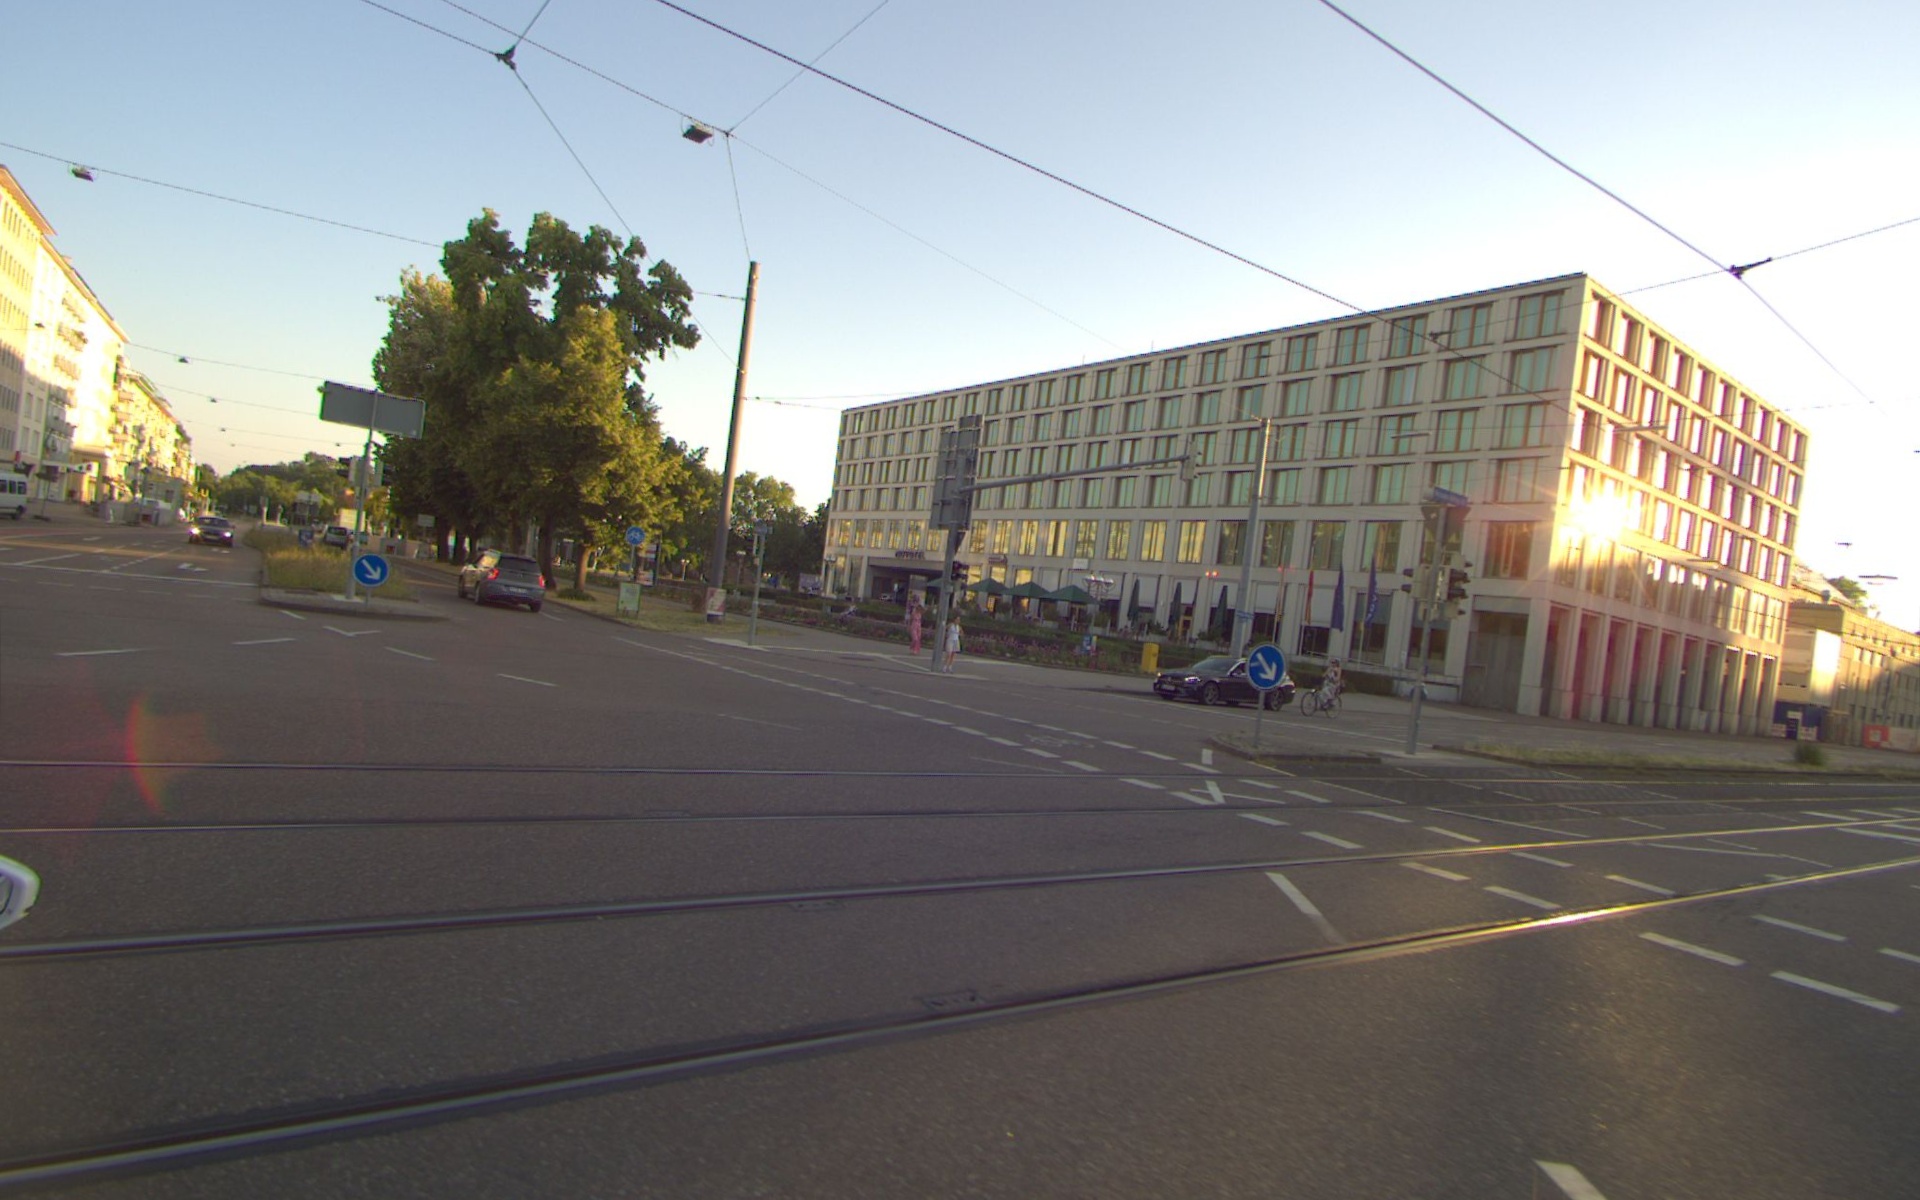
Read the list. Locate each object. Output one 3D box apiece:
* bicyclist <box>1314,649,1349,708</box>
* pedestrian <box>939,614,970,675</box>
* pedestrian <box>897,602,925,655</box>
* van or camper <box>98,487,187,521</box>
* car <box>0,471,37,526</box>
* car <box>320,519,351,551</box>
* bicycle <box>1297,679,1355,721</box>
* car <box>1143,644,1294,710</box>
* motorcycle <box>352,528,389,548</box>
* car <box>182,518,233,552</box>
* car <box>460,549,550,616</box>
[{"bbox_3d":[11.000,2.324,29.783,0.590,1.656,0.537,6,1,-29],"label":"bicyclist"},{"bbox_3d":[-0.154,1.264,28.730,0.529,1.646,0.625,7,1,-18],"label":"pedestrian"},{"bbox_3d":[-1.623,0.932,33.256,0.713,1.646,0.738,7,1,-3],"label":"pedestrian"},{"bbox_3d":[-71.476,-8.354,88.069,2.204,2.194,5.519,6,1,25],"label":"van or camper"},{"bbox_3d":[-50.055,-5.427,51.339,2.219,2.657,5.820,11,-3,-24],"label":"car"},{"bbox_3d":[-50.331,-5.255,81.028,1.871,2.266,3.875,6,0,-33],"label":"car"},{"bbox_3d":[10.831,2.948,29.740,1.742,1.064,0.536,7,0,-30],"label":"bicycle"},{"bbox_3d":[7.846,2.338,30.304,4.771,1.540,1.799,8,-2,-38],"label":"car"},{"bbox_3d":[-66.931,-7.086,114.289,3.463,1.776,0.918,7,0,-33],"label":"motorcycle"},{"bbox_3d":[-38.211,-3.305,51.141,1.682,1.438,4.136,7,0,-33],"label":"car"},{"bbox_3d":[-13.803,-0.574,30.389,1.683,1.624,4.052,8,0,-34],"label":"car"}]
